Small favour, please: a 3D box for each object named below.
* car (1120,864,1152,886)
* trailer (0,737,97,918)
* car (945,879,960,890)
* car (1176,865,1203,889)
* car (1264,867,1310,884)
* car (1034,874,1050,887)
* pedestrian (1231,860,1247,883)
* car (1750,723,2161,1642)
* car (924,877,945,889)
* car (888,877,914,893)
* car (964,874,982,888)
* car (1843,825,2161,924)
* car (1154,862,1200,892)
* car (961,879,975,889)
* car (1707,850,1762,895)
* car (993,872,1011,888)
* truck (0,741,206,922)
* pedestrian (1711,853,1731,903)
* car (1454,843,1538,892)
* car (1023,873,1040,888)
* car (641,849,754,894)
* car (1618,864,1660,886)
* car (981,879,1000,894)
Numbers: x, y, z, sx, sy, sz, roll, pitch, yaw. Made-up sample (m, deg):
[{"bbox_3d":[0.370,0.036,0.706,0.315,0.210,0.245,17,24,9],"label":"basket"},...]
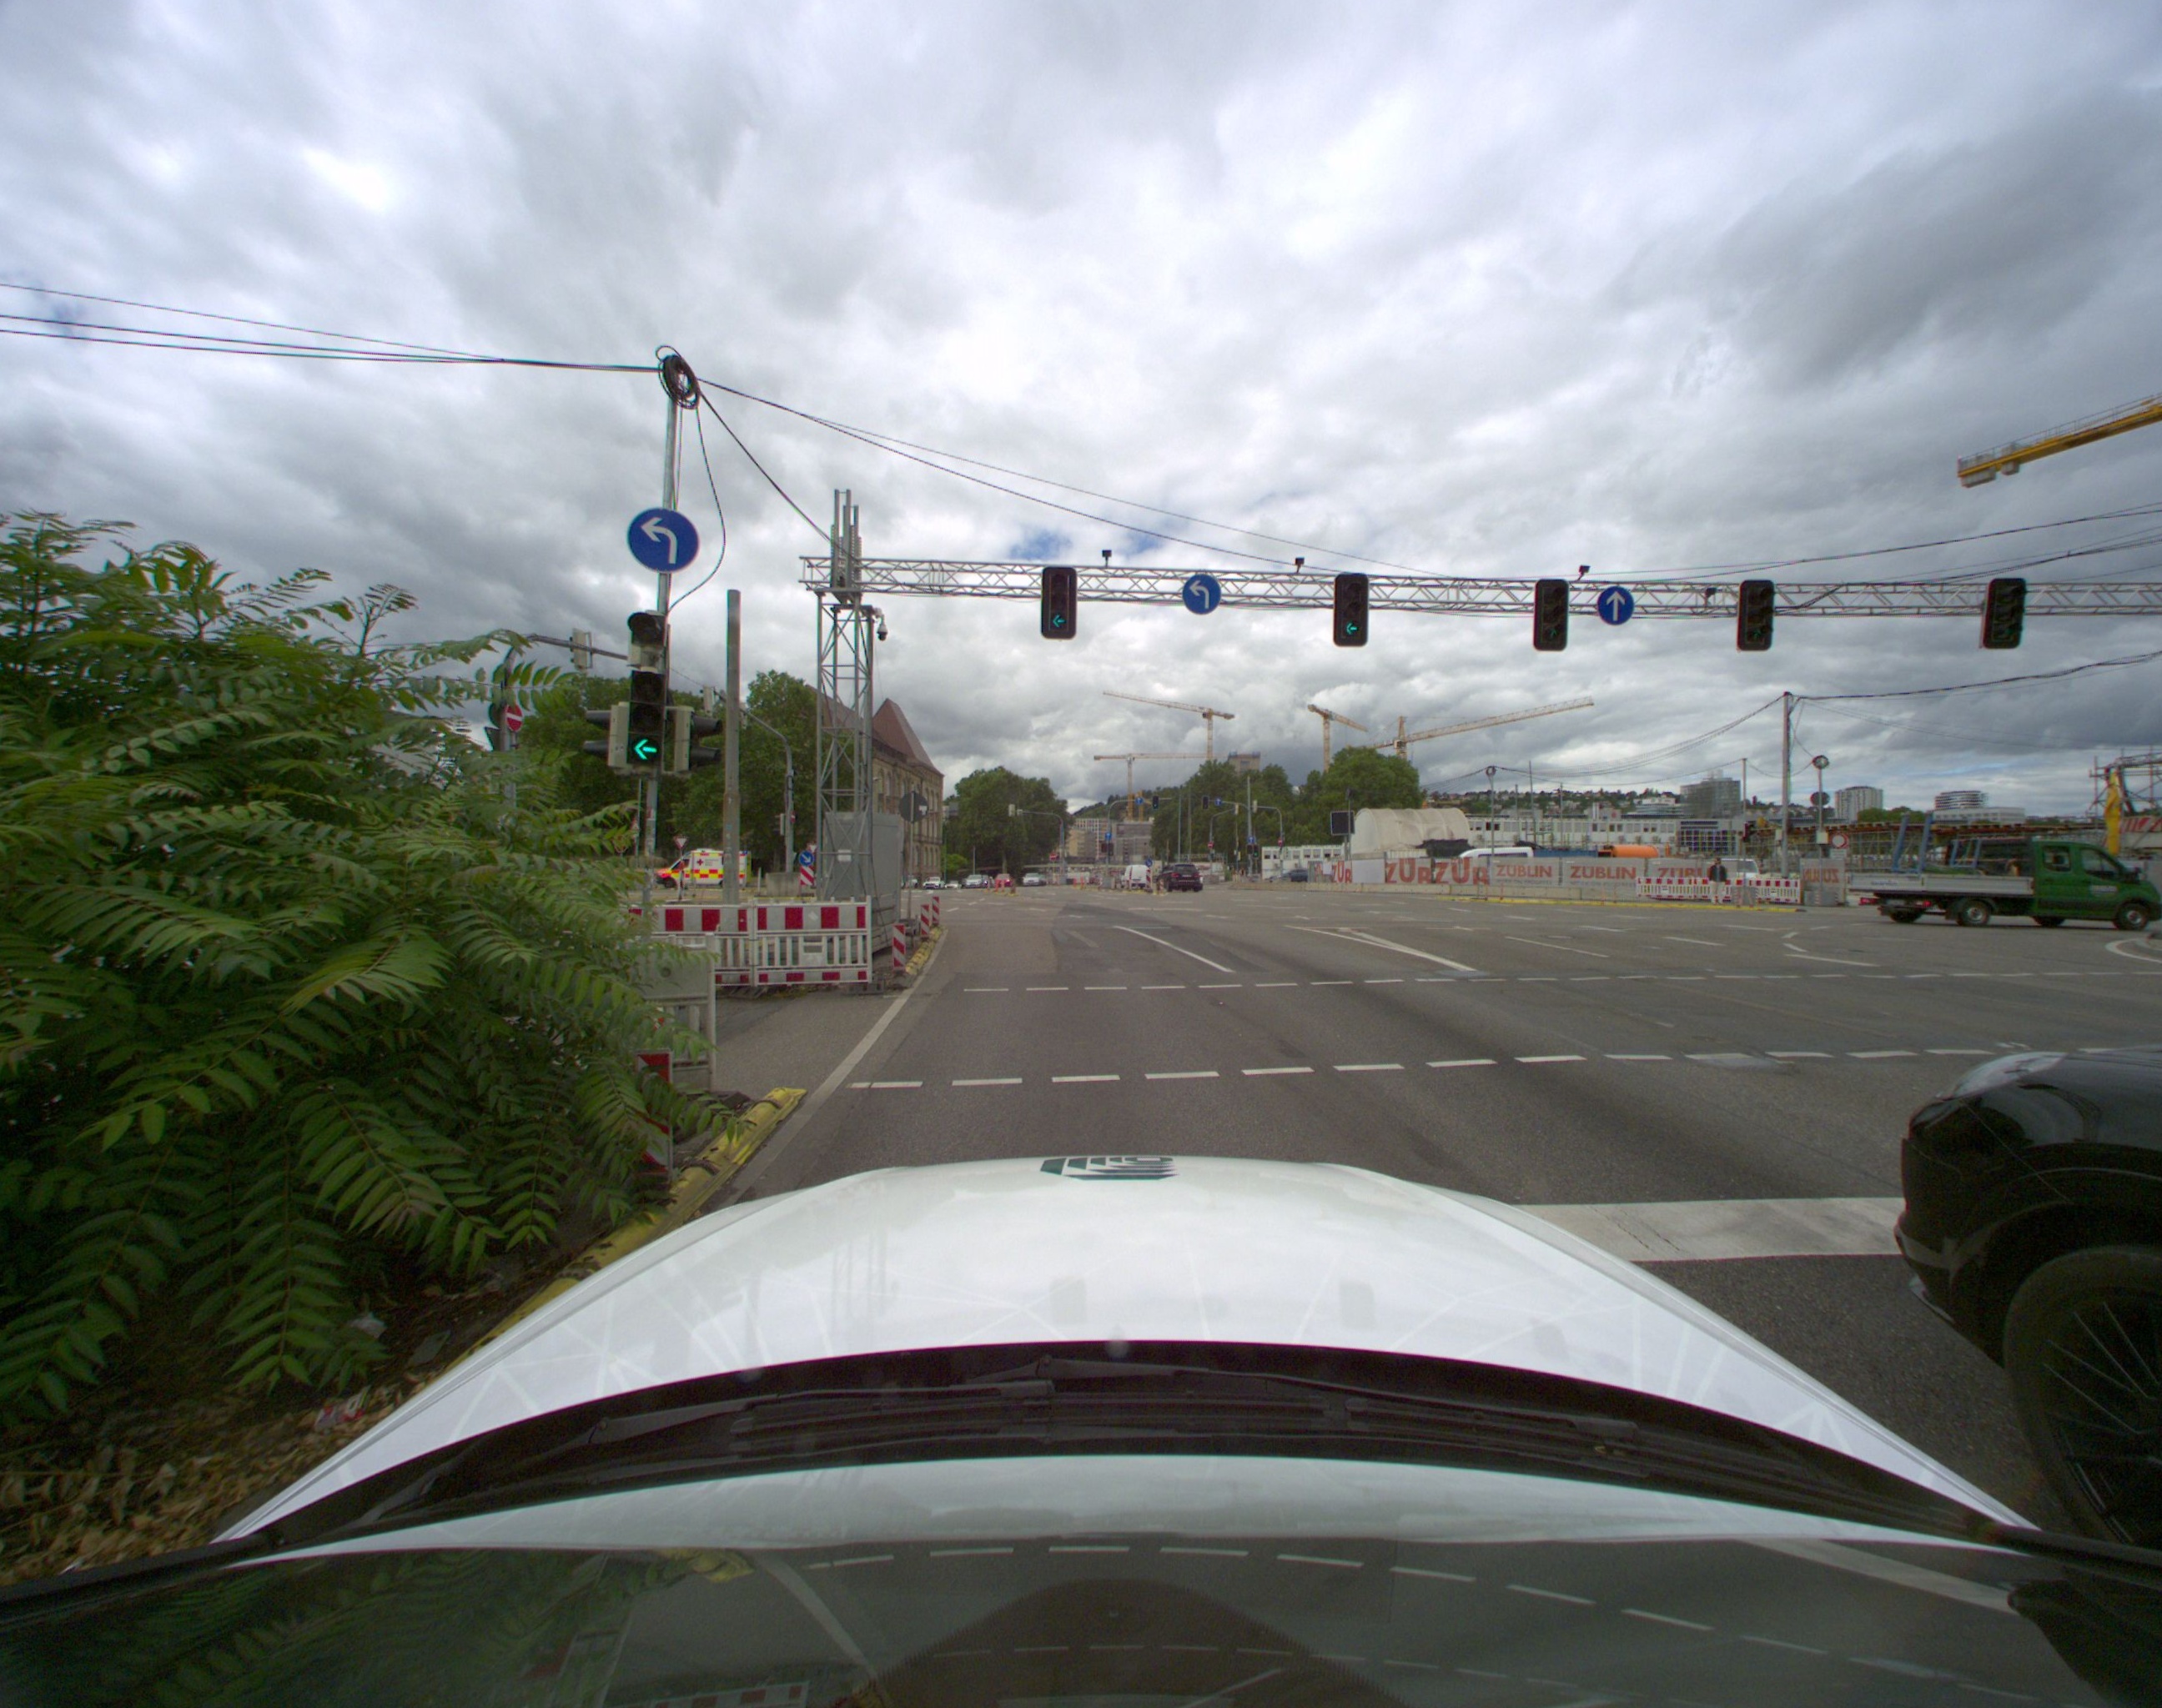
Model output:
[{"bbox_3d":[4.108,1.567,61.489,1.814,1.625,3.993,0,-1,-5],"label":"car"},{"bbox_3d":[-32.375,-0.572,19.373,13.707,4.281,2.945,0,-1,-2],"label":"trailer"},{"bbox_3d":[-16.972,4.044,107.572,1.673,1.398,3.677,0,-1,-4],"label":"car"},{"bbox_3d":[8.054,1.700,60.630,1.669,1.702,3.376,-1,-1,2],"label":"car"},{"bbox_3d":[19.903,2.041,78.616,3.996,1.625,1.812,0,-1,-17],"label":"car"},{"bbox_3d":[-4.405,2.923,91.509,1.673,1.398,3.677,0,-1,-4],"label":"car"},{"bbox_3d":[14.379,1.594,73.958,1.094,2.014,1.181,0,-1,-9],"label":"pedestrian"},{"bbox_3d":[2.874,0.587,0.209,1.817,1.715,4.486,0,-1,2],"label":"car"},{"bbox_3d":[-16.789,3.311,93.494,1.670,1.398,3.682,0,-1,0],"label":"car"},{"bbox_3d":[-17.163,2.970,77.921,1.670,1.398,3.682,0,-1,0],"label":"car"},{"bbox_3d":[-11.282,2.806,85.331,1.673,1.398,3.677,0,-1,-4],"label":"car"},{"bbox_3d":[23.234,0.516,20.507,5.732,2.305,2.306,-1,-1,4],"label":"car"},{"bbox_3d":[5.851,1.359,49.891,1.830,1.746,4.244,0,-1,-7],"label":"car"},{"bbox_3d":[-16.625,4.458,119.771,1.673,1.398,3.677,0,-1,-4],"label":"car"},{"bbox_3d":[30.258,0.843,37.783,1.755,1.954,3.146,-1,-1,34],"label":"car"},{"bbox_3d":[-8.147,2.673,84.334,1.673,1.580,3.677,0,-1,-4],"label":"car"},{"bbox_3d":[-25.260,-0.475,19.672,4.864,4.064,2.942,0,-1,-3],"label":"truck"},{"bbox_3d":[25.800,0.950,32.826,0.581,1.976,0.437,-1,-1,43],"label":"pedestrian"},{"bbox_3d":[23.392,0.776,46.088,3.957,2.662,1.688,-1,-1,15],"label":"car"},{"bbox_3d":[-5.156,2.743,84.520,1.673,1.398,3.677,0,-1,-4],"label":"car"},{"bbox_3d":[-26.909,1.190,57.410,6.742,3.052,2.362,0,-1,-12],"label":"car"},{"bbox_3d":[40.523,1.519,59.227,1.661,1.528,4.021,-1,-1,23],"label":"car"},{"bbox_3d":[-9.056,3.285,81.564,1.673,1.398,3.677,0,-1,-4],"label":"car"}]
